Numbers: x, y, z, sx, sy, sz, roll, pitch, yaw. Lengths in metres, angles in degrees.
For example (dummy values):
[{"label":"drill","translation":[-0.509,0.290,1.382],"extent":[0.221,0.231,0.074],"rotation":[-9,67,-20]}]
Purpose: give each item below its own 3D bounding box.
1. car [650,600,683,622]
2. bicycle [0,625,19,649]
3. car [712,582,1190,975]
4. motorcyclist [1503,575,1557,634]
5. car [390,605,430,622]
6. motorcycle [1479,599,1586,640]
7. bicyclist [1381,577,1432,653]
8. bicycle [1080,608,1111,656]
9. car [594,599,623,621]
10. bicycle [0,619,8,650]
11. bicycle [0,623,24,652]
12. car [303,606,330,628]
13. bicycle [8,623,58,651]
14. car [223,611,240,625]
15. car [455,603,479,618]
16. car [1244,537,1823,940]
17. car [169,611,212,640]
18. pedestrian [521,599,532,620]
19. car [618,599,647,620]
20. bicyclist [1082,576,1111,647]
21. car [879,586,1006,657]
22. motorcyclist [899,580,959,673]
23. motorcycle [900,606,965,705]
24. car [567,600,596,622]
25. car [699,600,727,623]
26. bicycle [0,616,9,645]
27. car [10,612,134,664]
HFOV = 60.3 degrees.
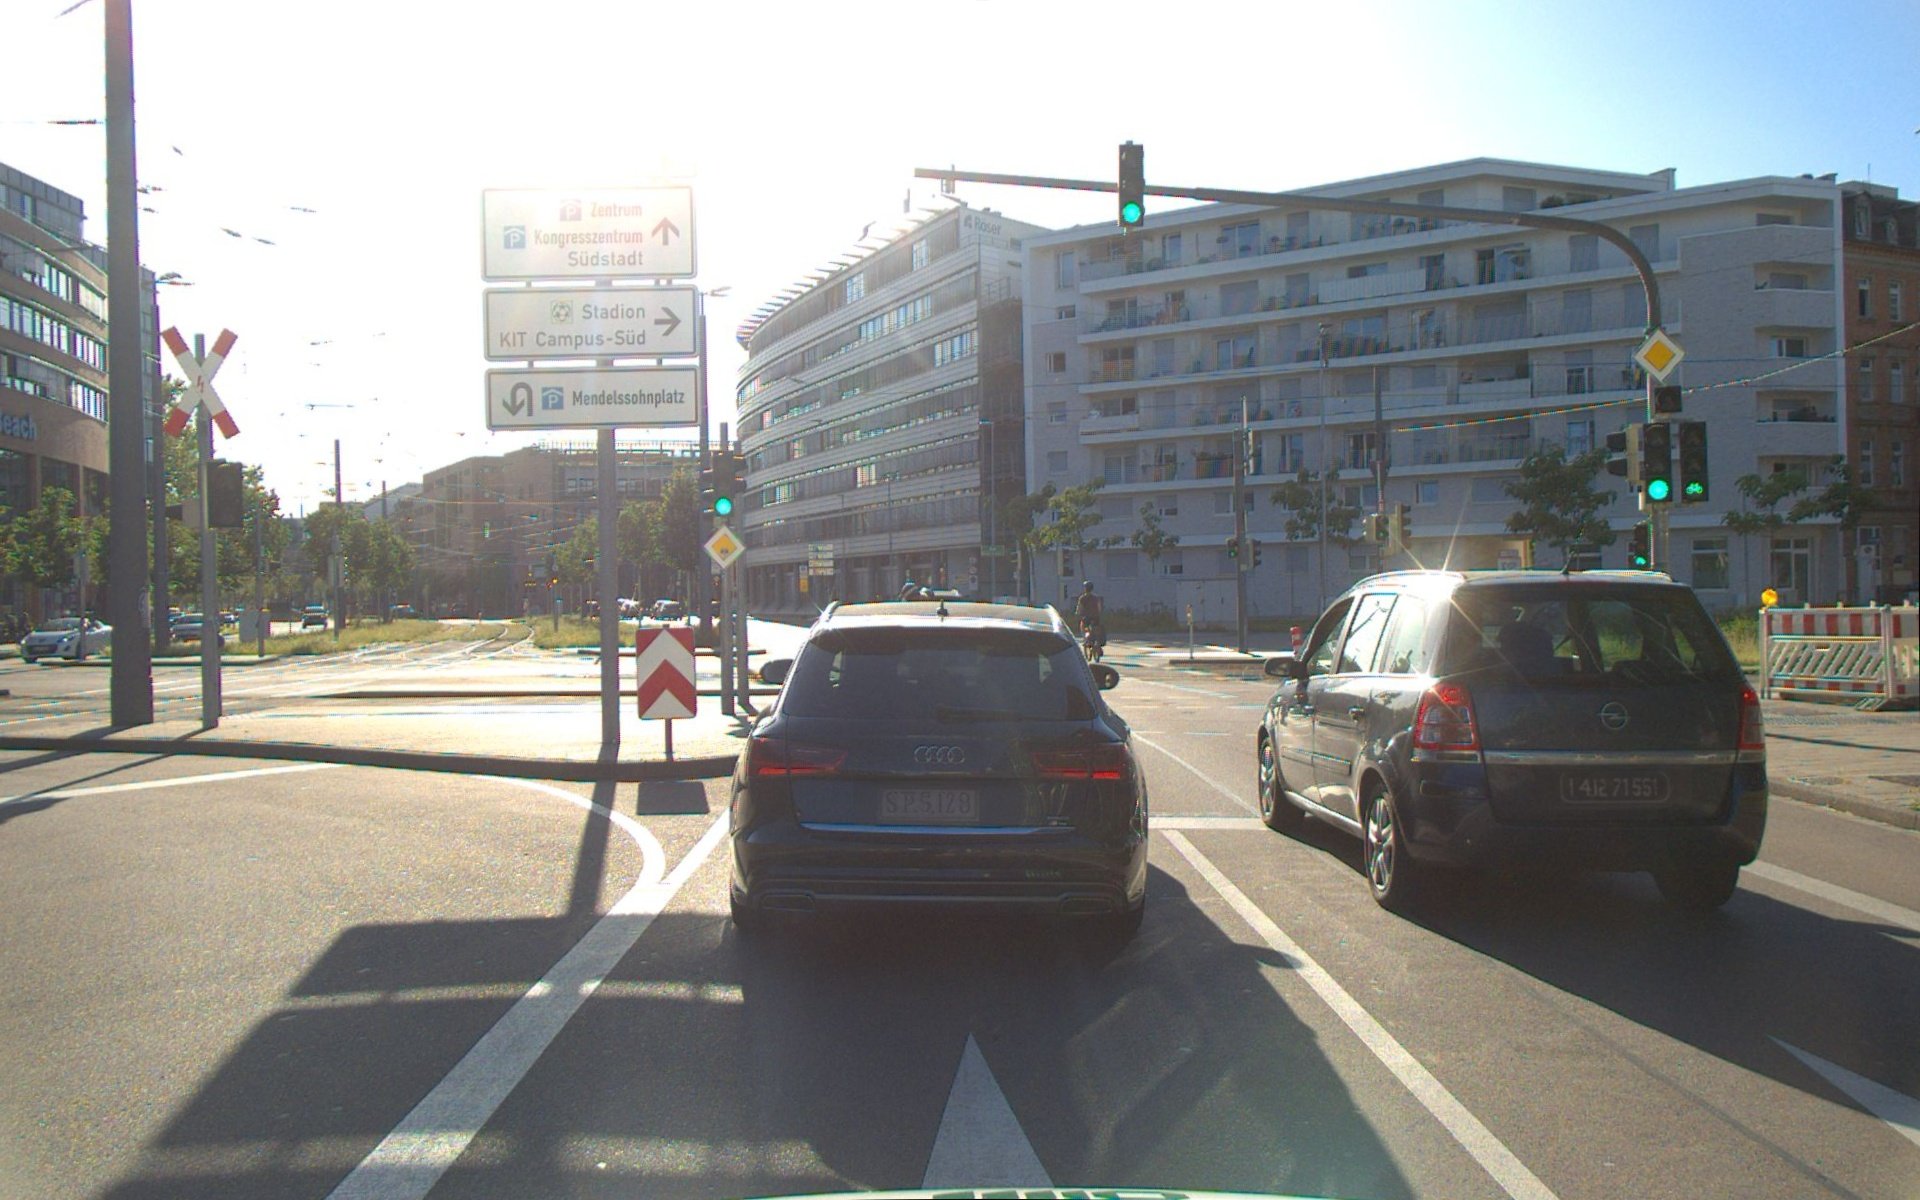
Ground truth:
[{"label":"car","translation":[-23.552,0.877,132.774],"extent":[1.964,1.624,3.977],"rotation":[-2,-1,-19]},{"label":"bicycle","translation":[-50.544,1.970,86.479],"extent":[2.362,1.257,0.745],"rotation":[-2,-1,8]},{"label":"car","translation":[-0.075,0.667,8.287],"extent":[1.805,1.479,3.999],"rotation":[1,0,-1]},{"label":"motorcyclist","translation":[15.011,0.123,43.566],"extent":[0.907,1.507,1.170],"rotation":[-1,0,-8]},{"label":"car","translation":[-57.177,1.379,171.979],"extent":[1.951,1.736,4.002],"rotation":[-2,-1,17]},{"label":"motorcycle","translation":[15.065,0.517,43.569],"extent":[2.406,1.018,1.169],"rotation":[-1,0,-8]},{"label":"bicyclist","translation":[10.464,0.349,38.786],"extent":[0.754,1.736,0.926],"rotation":[-1,0,-17]},{"label":"bicycle","translation":[3.244,0.755,39.696],"extent":[0.640,1.061,1.930],"rotation":[-1,1,2]},{"label":"car","translation":[-29.923,0.861,140.836],"extent":[1.964,1.736,3.978],"rotation":[-2,-1,-19]},{"label":"bicycle","translation":[-46.755,1.700,78.684],"extent":[2.507,1.458,0.905],"rotation":[-2,-1,8]},{"label":"bicycle","translation":[-50.700,1.994,87.326],"extent":[2.197,1.458,0.719],"rotation":[-2,-1,8]},{"label":"car","translation":[-50.965,1.349,130.986],"extent":[1.965,1.668,4.383],"rotation":[-1,0,-21]},{"label":"bicycle","translation":[-50.738,2.020,90.538],"extent":[2.369,1.458,0.789],"rotation":[-2,-1,8]},{"label":"car","translation":[-86.811,2.162,197.101],"extent":[1.631,1.616,3.328],"rotation":[-1,0,-28]},{"label":"car","translation":[-57.011,1.262,191.248],"extent":[1.956,1.668,4.403],"rotation":[-1,0,-8]},{"label":"car","translation":[2.868,0.609,9.329],"extent":[1.710,1.725,4.259],"rotation":[1,0,-1]},{"label":"car","translation":[-40.646,1.330,87.408],"extent":[1.869,1.431,3.971],"rotation":[-2,1,-23]},{"label":"pedestrian","translation":[-38.844,0.884,148.206],"extent":[0.888,1.856,0.825],"rotation":[-2,-1,-18]},{"label":"car","translation":[-26.751,0.805,135.136],"extent":[1.961,1.624,3.982],"rotation":[-2,-1,-16]},{"label":"bicyclist","translation":[3.275,0.269,39.695],"extent":[0.640,1.671,0.972],"rotation":[-1,0,2]},{"label":"car","translation":[-0.523,0.521,42.952],"extent":[1.974,1.745,4.346],"rotation":[0,0,-20]},{"label":"motorcyclist","translation":[-0.471,0.390,24.704],"extent":[0.846,1.349,0.680],"rotation":[-1,0,-5]},{"label":"motorcycle","translation":[-0.430,0.800,24.783],"extent":[0.845,1.417,1.892],"rotation":[-1,0,-4]},{"label":"car","translation":[-32.070,0.953,139.980],"extent":[1.964,1.736,3.978],"rotation":[-2,-1,-19]},{"label":"car","translation":[-21.672,1.001,145.041],"extent":[1.961,1.870,3.982],"rotation":[-2,-1,-16]},{"label":"bicycle","translation":[-50.370,1.608,85.059],"extent":[2.551,1.458,0.772],"rotation":[-2,-1,8]},{"label":"car","translation":[-29.923,1.244,55.916],"extent":[1.954,1.572,4.526],"rotation":[-1,0,-4]}]
